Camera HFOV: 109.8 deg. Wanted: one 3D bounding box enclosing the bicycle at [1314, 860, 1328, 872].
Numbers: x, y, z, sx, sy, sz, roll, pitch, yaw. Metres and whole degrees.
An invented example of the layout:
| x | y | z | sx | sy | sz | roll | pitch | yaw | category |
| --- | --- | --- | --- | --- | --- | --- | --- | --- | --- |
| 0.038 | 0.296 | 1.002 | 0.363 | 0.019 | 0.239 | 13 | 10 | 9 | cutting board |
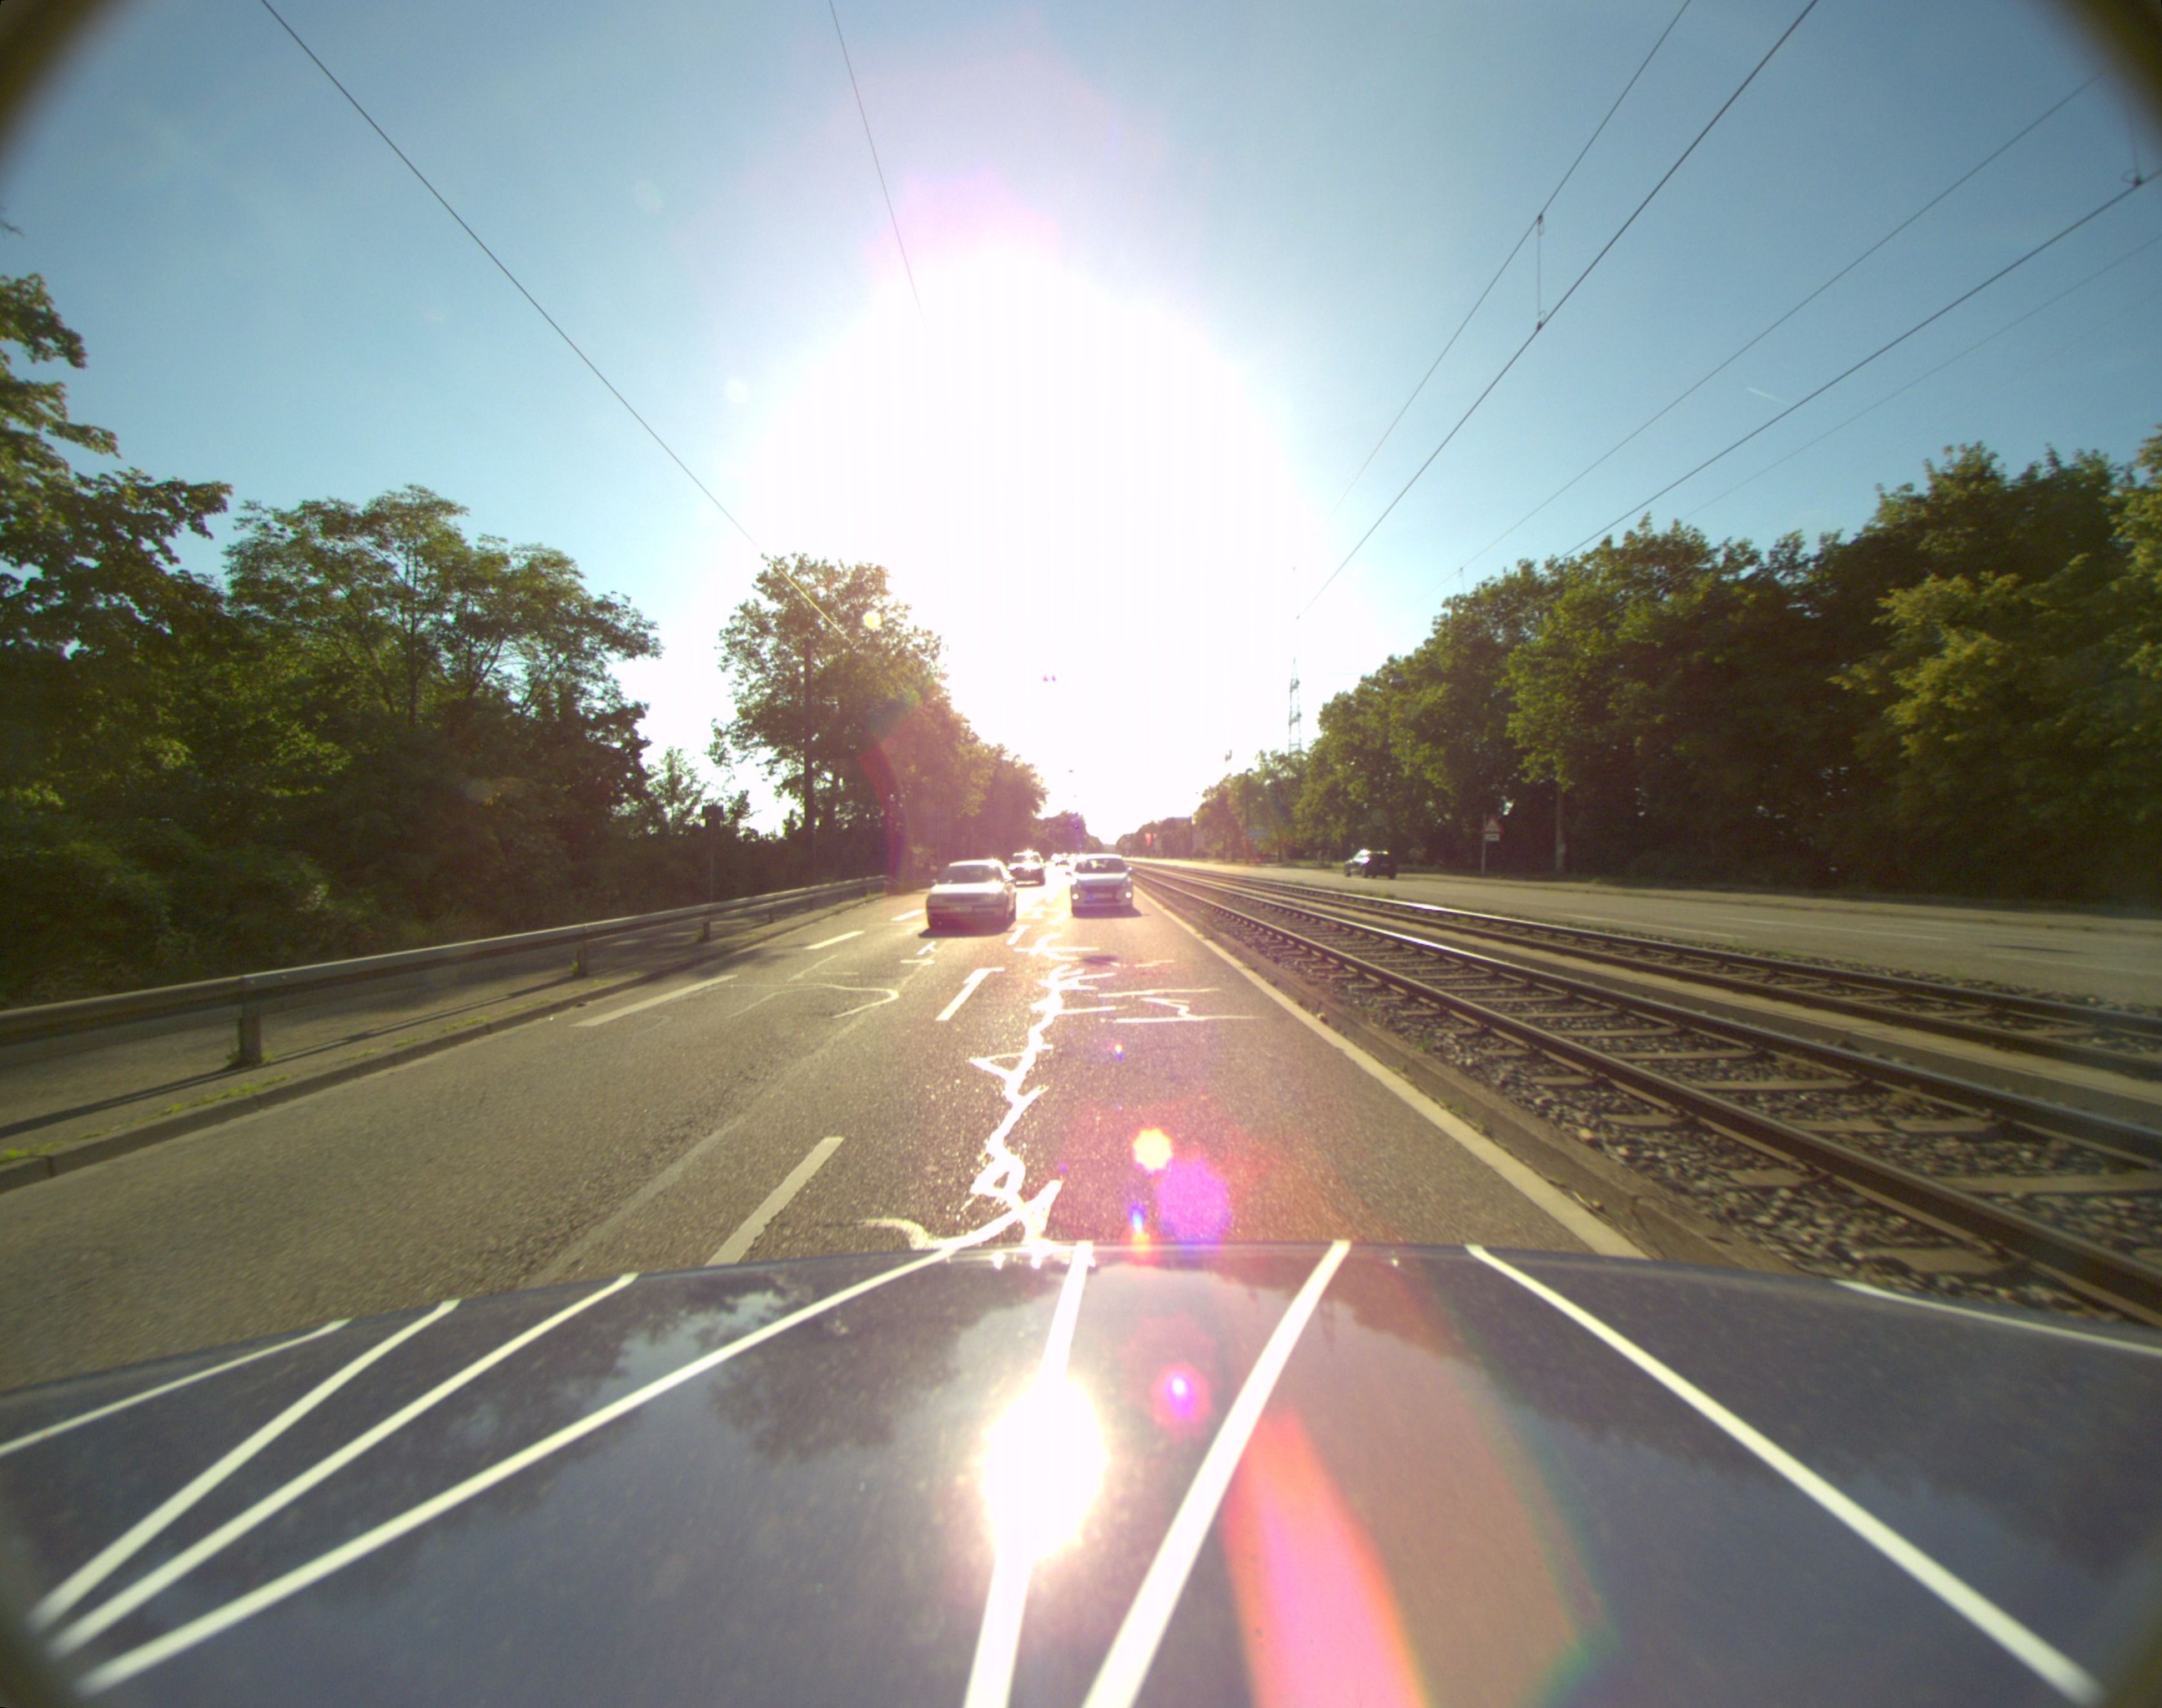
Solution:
| x | y | z | sx | sy | sz | roll | pitch | yaw | category |
| --- | --- | --- | --- | --- | --- | --- | --- | --- | --- |
| 20.782 | 1.035 | 65.771 | 0.552 | 0.980 | 2.239 | -2 | 1 | 2 | bicycle |

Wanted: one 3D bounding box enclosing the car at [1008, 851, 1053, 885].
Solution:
| x | y | z | sx | sy | sz | roll | pitch | yaw | category |
| --- | --- | --- | --- | --- | --- | --- | --- | --- | --- |
| -2.607 | 0.682 | 39.930 | 1.881 | 1.591 | 4.417 | -1 | 1 | 2 | car |

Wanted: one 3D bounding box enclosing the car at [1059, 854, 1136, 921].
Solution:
| x | y | z | sx | sy | sz | roll | pitch | yaw | category |
| --- | --- | --- | --- | --- | --- | --- | --- | --- | --- |
| 0.491 | 0.840 | 21.127 | 1.881 | 1.591 | 4.417 | -1 | 1 | 2 | car |

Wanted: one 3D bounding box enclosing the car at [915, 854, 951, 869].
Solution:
| x | y | z | sx | sy | sz | roll | pitch | yaw | category |
| --- | --- | --- | --- | --- | --- | --- | --- | --- | --- |
| -17.460 | 0.855 | 89.565 | 4.002 | 1.655 | 1.888 | 0 | 1 | -16 | car |

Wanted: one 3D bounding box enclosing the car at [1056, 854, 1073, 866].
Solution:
| x | y | z | sx | sy | sz | roll | pitch | yaw | category |
| --- | --- | --- | --- | --- | --- | --- | --- | --- | --- |
| -2.015 | 0.742 | 94.685 | 1.881 | 1.449 | 4.417 | -1 | 1 | 2 | car |

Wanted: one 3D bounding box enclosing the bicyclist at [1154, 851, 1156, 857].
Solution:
| x | y | z | sx | sy | sz | roll | pitch | yaw | category |
| --- | --- | --- | --- | --- | --- | --- | --- | --- | --- |
| 22.778 | 0.020 | 233.371 | 0.591 | 1.601 | 0.967 | 0 | 1 | 0 | bicyclist |

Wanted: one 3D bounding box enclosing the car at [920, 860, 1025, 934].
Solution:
| x | y | z | sx | sy | sz | roll | pitch | yaw | category |
| --- | --- | --- | --- | --- | --- | --- | --- | --- | --- |
| -2.387 | 0.906 | 17.647 | 1.725 | 1.437 | 4.001 | -1 | 1 | 2 | car |

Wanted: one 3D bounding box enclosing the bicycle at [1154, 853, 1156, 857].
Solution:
| x | y | z | sx | sy | sz | roll | pitch | yaw | category |
| --- | --- | --- | --- | --- | --- | --- | --- | --- | --- |
| 22.784 | 0.319 | 233.391 | 0.591 | 1.016 | 2.185 | 0 | 1 | 0 | bicycle |

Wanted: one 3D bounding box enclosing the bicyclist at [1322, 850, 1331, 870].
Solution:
| x | y | z | sx | sy | sz | roll | pitch | yaw | category |
| --- | --- | --- | --- | --- | --- | --- | --- | --- | --- |
| 21.240 | 0.492 | 65.717 | 0.551 | 1.680 | 0.820 | -2 | 1 | 5 | bicyclist |

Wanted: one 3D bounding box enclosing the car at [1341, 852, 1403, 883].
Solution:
| x | y | z | sx | sy | sz | roll | pitch | yaw | category |
| --- | --- | --- | --- | --- | --- | --- | --- | --- | --- |
| 17.646 | 0.771 | 46.307 | 1.998 | 1.676 | 4.795 | 1 | 1 | 1 | car |
